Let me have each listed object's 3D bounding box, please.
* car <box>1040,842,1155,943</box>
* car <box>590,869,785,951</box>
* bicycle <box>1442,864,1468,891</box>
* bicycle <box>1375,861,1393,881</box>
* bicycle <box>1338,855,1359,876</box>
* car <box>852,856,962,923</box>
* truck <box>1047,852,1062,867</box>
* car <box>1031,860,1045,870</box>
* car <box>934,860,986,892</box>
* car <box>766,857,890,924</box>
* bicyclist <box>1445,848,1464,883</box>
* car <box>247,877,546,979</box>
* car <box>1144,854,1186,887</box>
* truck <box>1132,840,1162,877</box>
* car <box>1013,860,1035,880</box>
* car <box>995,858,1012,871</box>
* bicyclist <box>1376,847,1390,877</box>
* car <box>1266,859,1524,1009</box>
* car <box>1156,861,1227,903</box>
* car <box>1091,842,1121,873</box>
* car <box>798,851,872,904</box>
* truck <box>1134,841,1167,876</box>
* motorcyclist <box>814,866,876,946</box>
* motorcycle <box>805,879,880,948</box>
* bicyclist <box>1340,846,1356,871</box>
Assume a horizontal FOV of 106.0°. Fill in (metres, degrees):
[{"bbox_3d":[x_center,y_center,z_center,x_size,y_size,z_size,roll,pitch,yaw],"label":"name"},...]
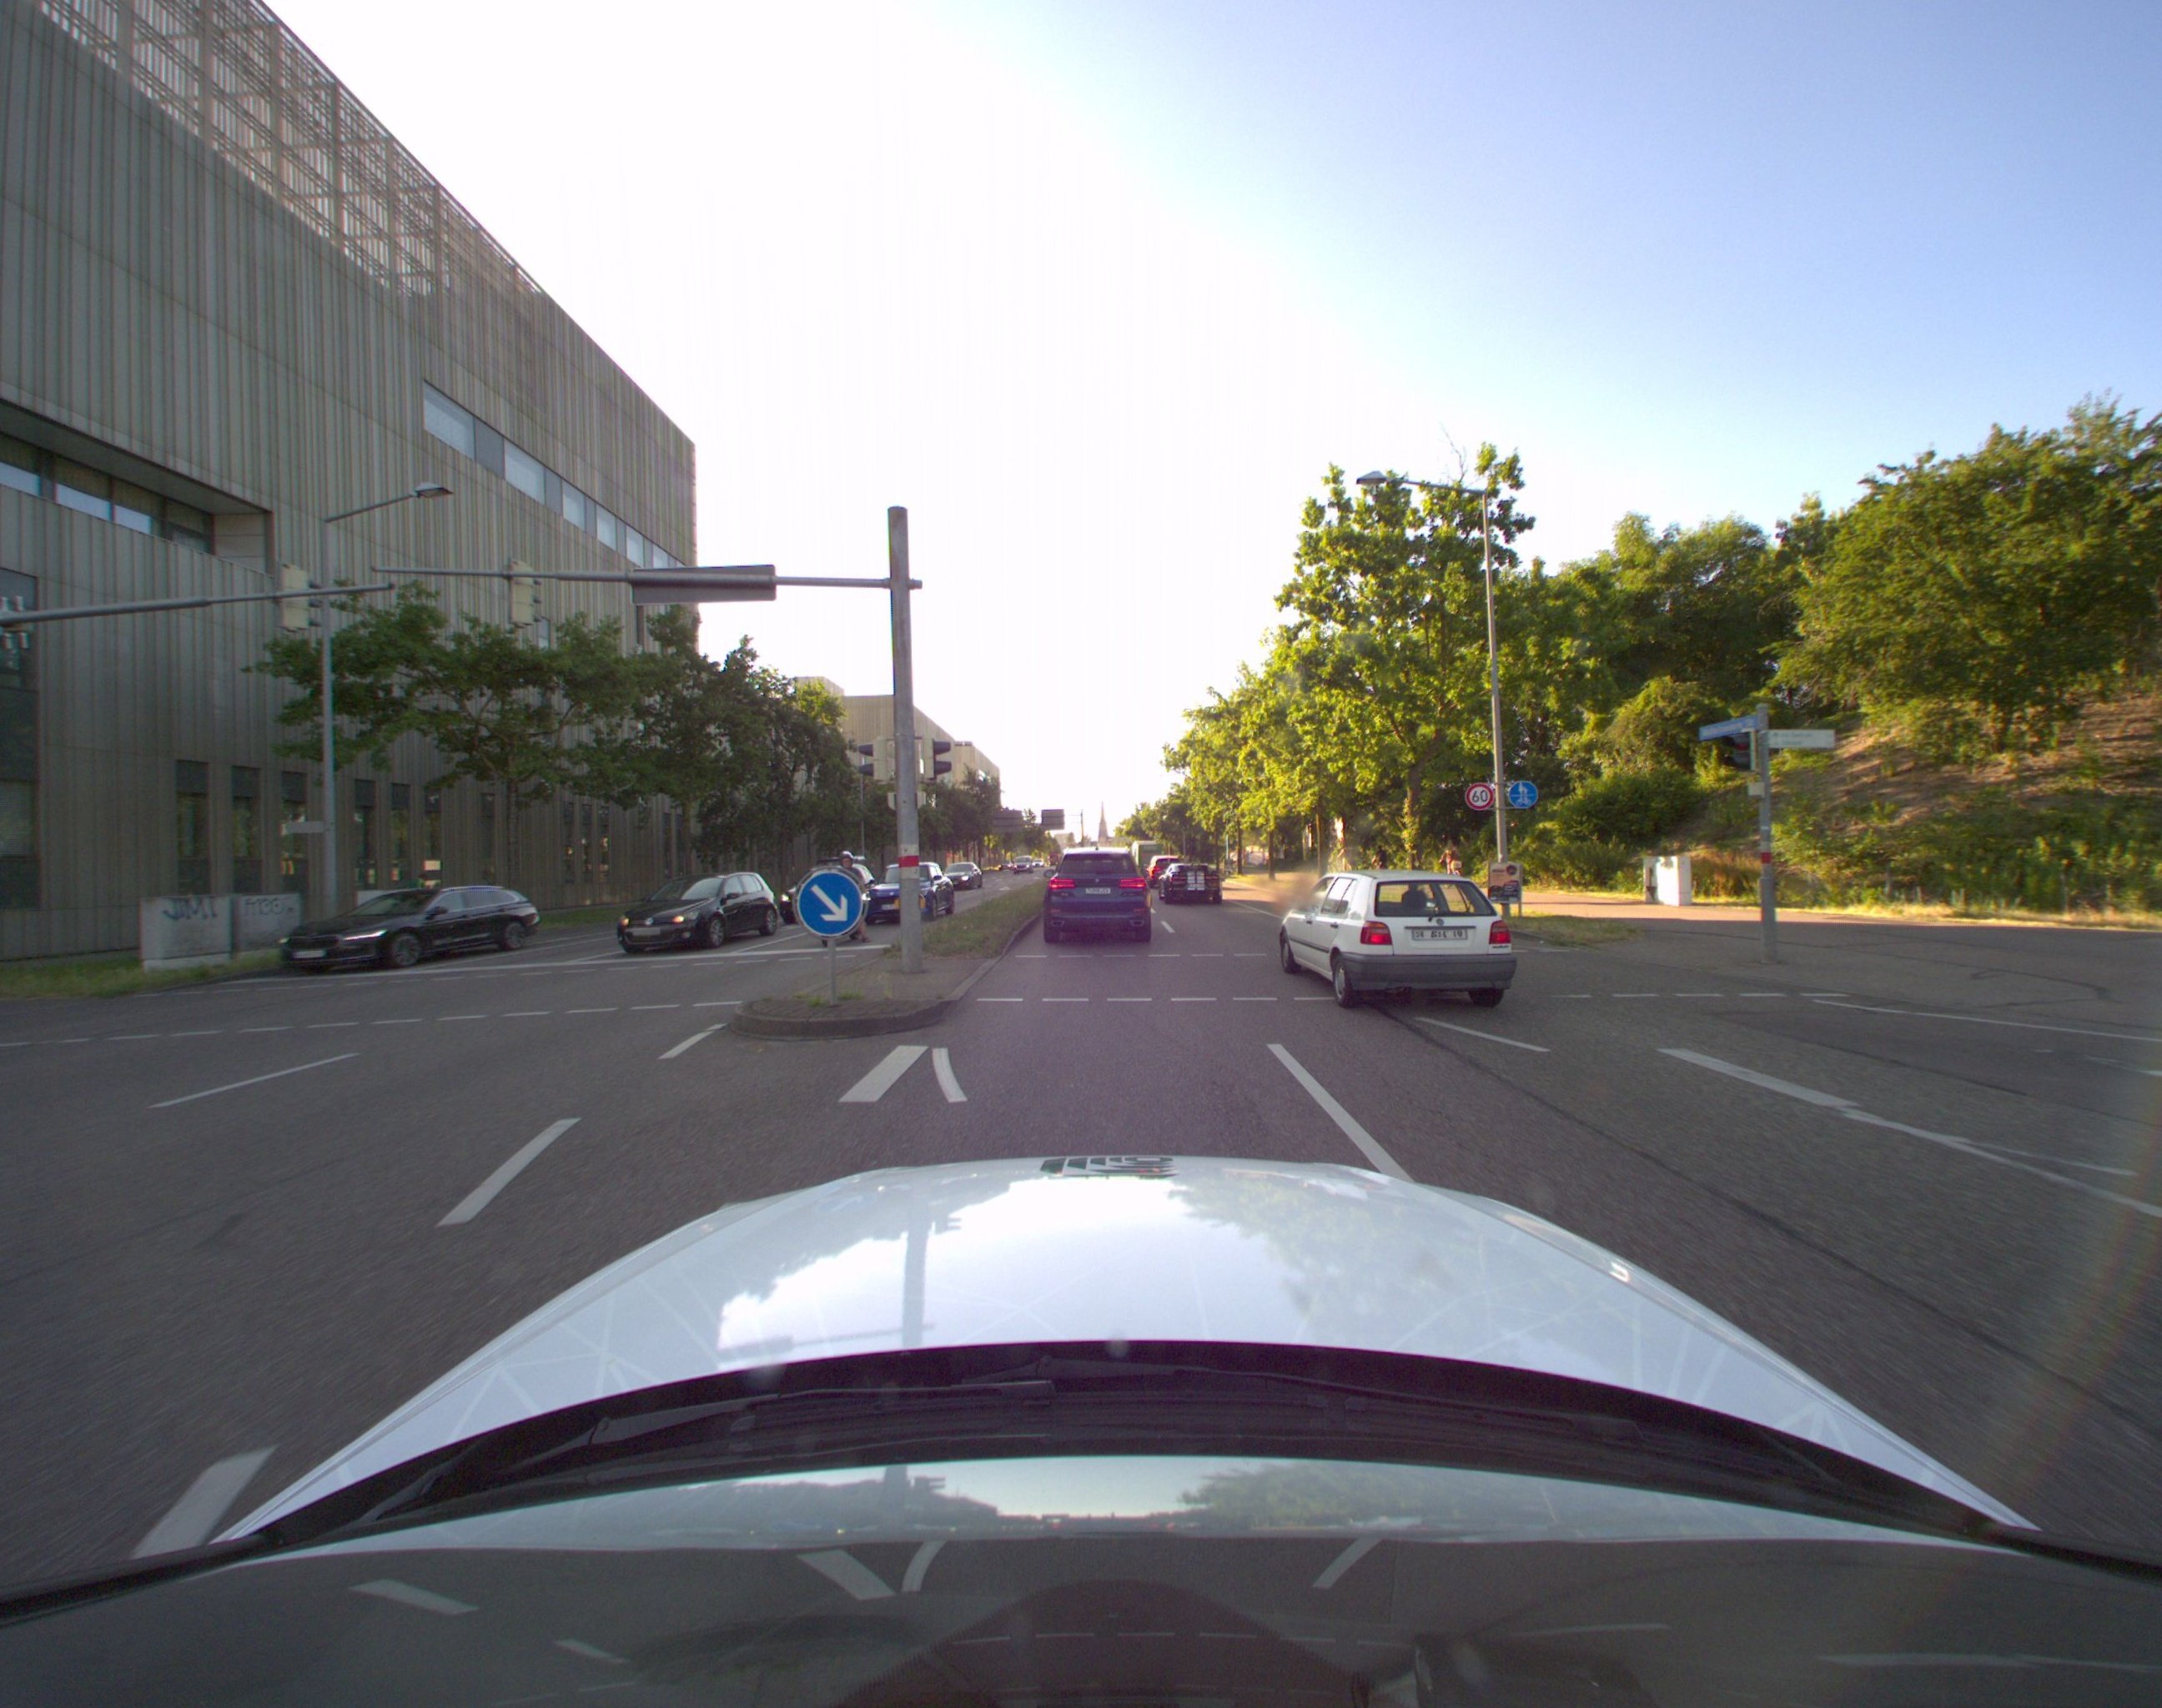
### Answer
[{"bbox_3d":[0.348,0.712,16.260,1.986,1.734,4.534,0,-1,2],"label":"car"},{"bbox_3d":[-7.878,1.060,16.826,1.987,1.475,4.080,0,-1,0],"label":"car"},{"bbox_3d":[13.308,0.823,29.013,0.436,0.914,1.027,-3,-1,2],"label":"bicycle"},{"bbox_3d":[13.586,0.760,36.566,0.436,0.914,1.027,0,-1,2],"label":"bicycle"},{"bbox_3d":[13.840,0.601,42.159,0.562,1.112,1.622,0,-1,2],"label":"bicycle"},{"bbox_3d":[-4.384,0.870,21.148,1.695,1.452,3.861,-5,-1,3],"label":"car"},{"bbox_3d":[-7.441,1.701,232.721,3.976,4.088,11.446,0,-1,0],"label":"truck"},{"bbox_3d":[-7.420,1.862,140.349,1.987,1.452,4.714,-5,-1,0],"label":"car"},{"bbox_3d":[-6.542,1.194,44.664,1.987,1.452,4.797,-6,-1,0],"label":"car"},{"bbox_3d":[-7.210,1.007,23.795,1.987,1.592,4.714,-5,-1,0],"label":"car"},{"bbox_3d":[13.303,0.414,29.022,0.426,1.233,0.460,-2,-2,1],"label":"bicyclist"},{"bbox_3d":[-13.548,1.357,16.630,1.987,1.592,4.714,-5,-1,0],"label":"car"},{"bbox_3d":[4.178,0.827,41.079,1.789,1.559,4.001,0,-1,2],"label":"car"},{"bbox_3d":[4.841,0.350,60.119,1.989,2.669,4.001,0,-1,1],"label":"truck"},{"bbox_3d":[-5.876,1.650,84.194,1.751,1.777,4.493,-5,-1,0],"label":"car"},{"bbox_3d":[-11.180,1.598,117.803,1.751,1.705,4.493,-5,-1,0],"label":"car"},{"bbox_3d":[13.591,0.361,36.669,0.426,1.309,0.460,0,-2,1],"label":"bicyclist"},{"bbox_3d":[3.433,0.804,9.749,1.573,1.413,4.062,0,-1,1],"label":"car"},{"bbox_3d":[3.678,0.926,27.748,1.986,1.295,4.001,0,-1,1],"label":"car"},{"bbox_3d":[2.064,0.334,68.493,2.132,2.576,5.080,0,-1,-3],"label":"car"},{"bbox_3d":[-10.473,0.930,34.972,1.789,1.978,3.994,-5,0,0],"label":"car"},{"bbox_3d":[4.688,0.354,55.396,1.989,2.315,4.001,0,-1,1],"label":"truck"},{"bbox_3d":[-4.390,0.943,15.229,0.796,1.349,1.272,-3,1,-5],"label":"motorcyclist"},{"bbox_3d":[-4.387,1.060,15.185,0.838,1.076,2.396,-4,0,-5],"label":"motorcycle"},{"bbox_3d":[13.821,0.238,42.200,0.541,1.316,0.835,0,-1,1],"label":"bicyclist"}]
